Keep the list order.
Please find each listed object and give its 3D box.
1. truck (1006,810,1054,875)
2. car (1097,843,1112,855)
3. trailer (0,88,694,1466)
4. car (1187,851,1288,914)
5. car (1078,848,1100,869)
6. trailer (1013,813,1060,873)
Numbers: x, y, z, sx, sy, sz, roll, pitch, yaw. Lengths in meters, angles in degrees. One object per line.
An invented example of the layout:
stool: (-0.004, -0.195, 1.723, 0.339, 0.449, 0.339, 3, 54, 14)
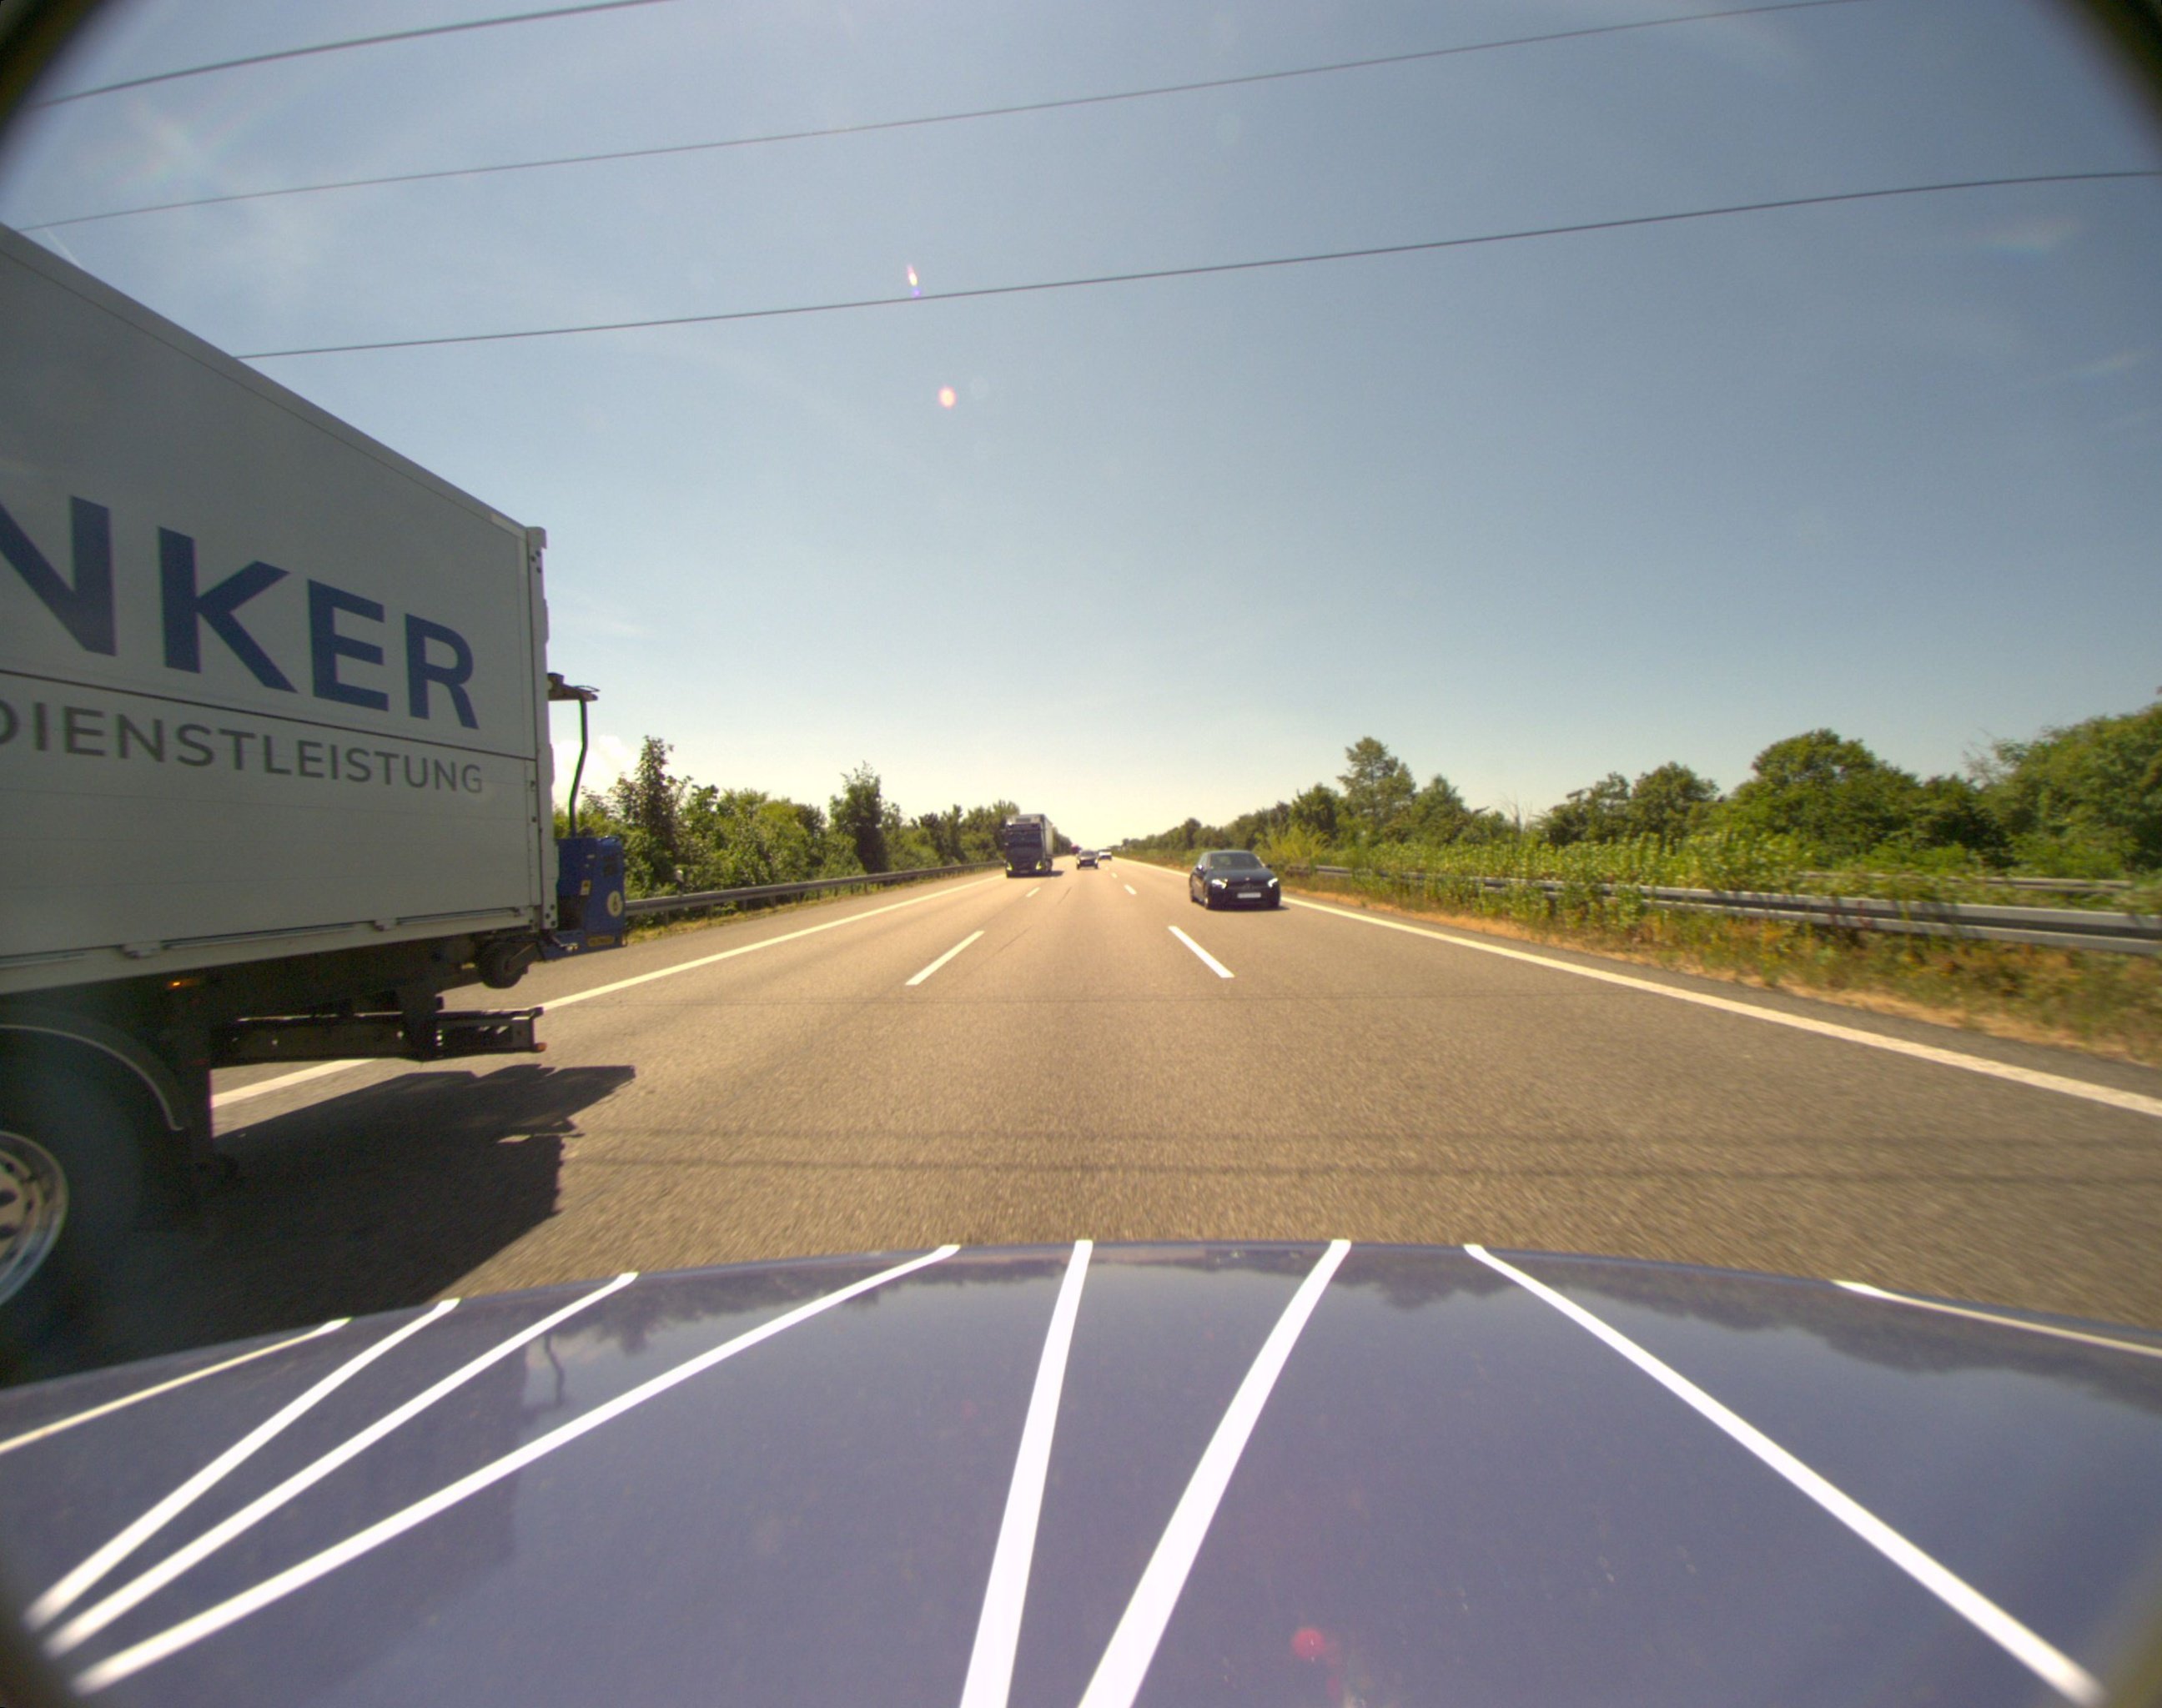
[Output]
truck: (-3.279, -0.730, 50.393, 2.559, 3.932, 6.513, -2, 1, 1)
car: (3.659, -0.735, 118.085, 2.147, 1.810, 5.267, -2, 0, 1)
trailer: (-4.635, -0.214, 1.902, 2.952, 4.039, 8.127, -2, 1, 0)
car: (3.953, 0.663, 19.865, 1.796, 1.403, 4.052, -2, 1, 1)
car: (0.687, 0.386, 65.067, 1.796, 1.696, 4.000, -1, 1, 1)
trailer: (-3.205, -0.778, 57.950, 2.559, 3.931, 13.537, -2, 0, 1)
